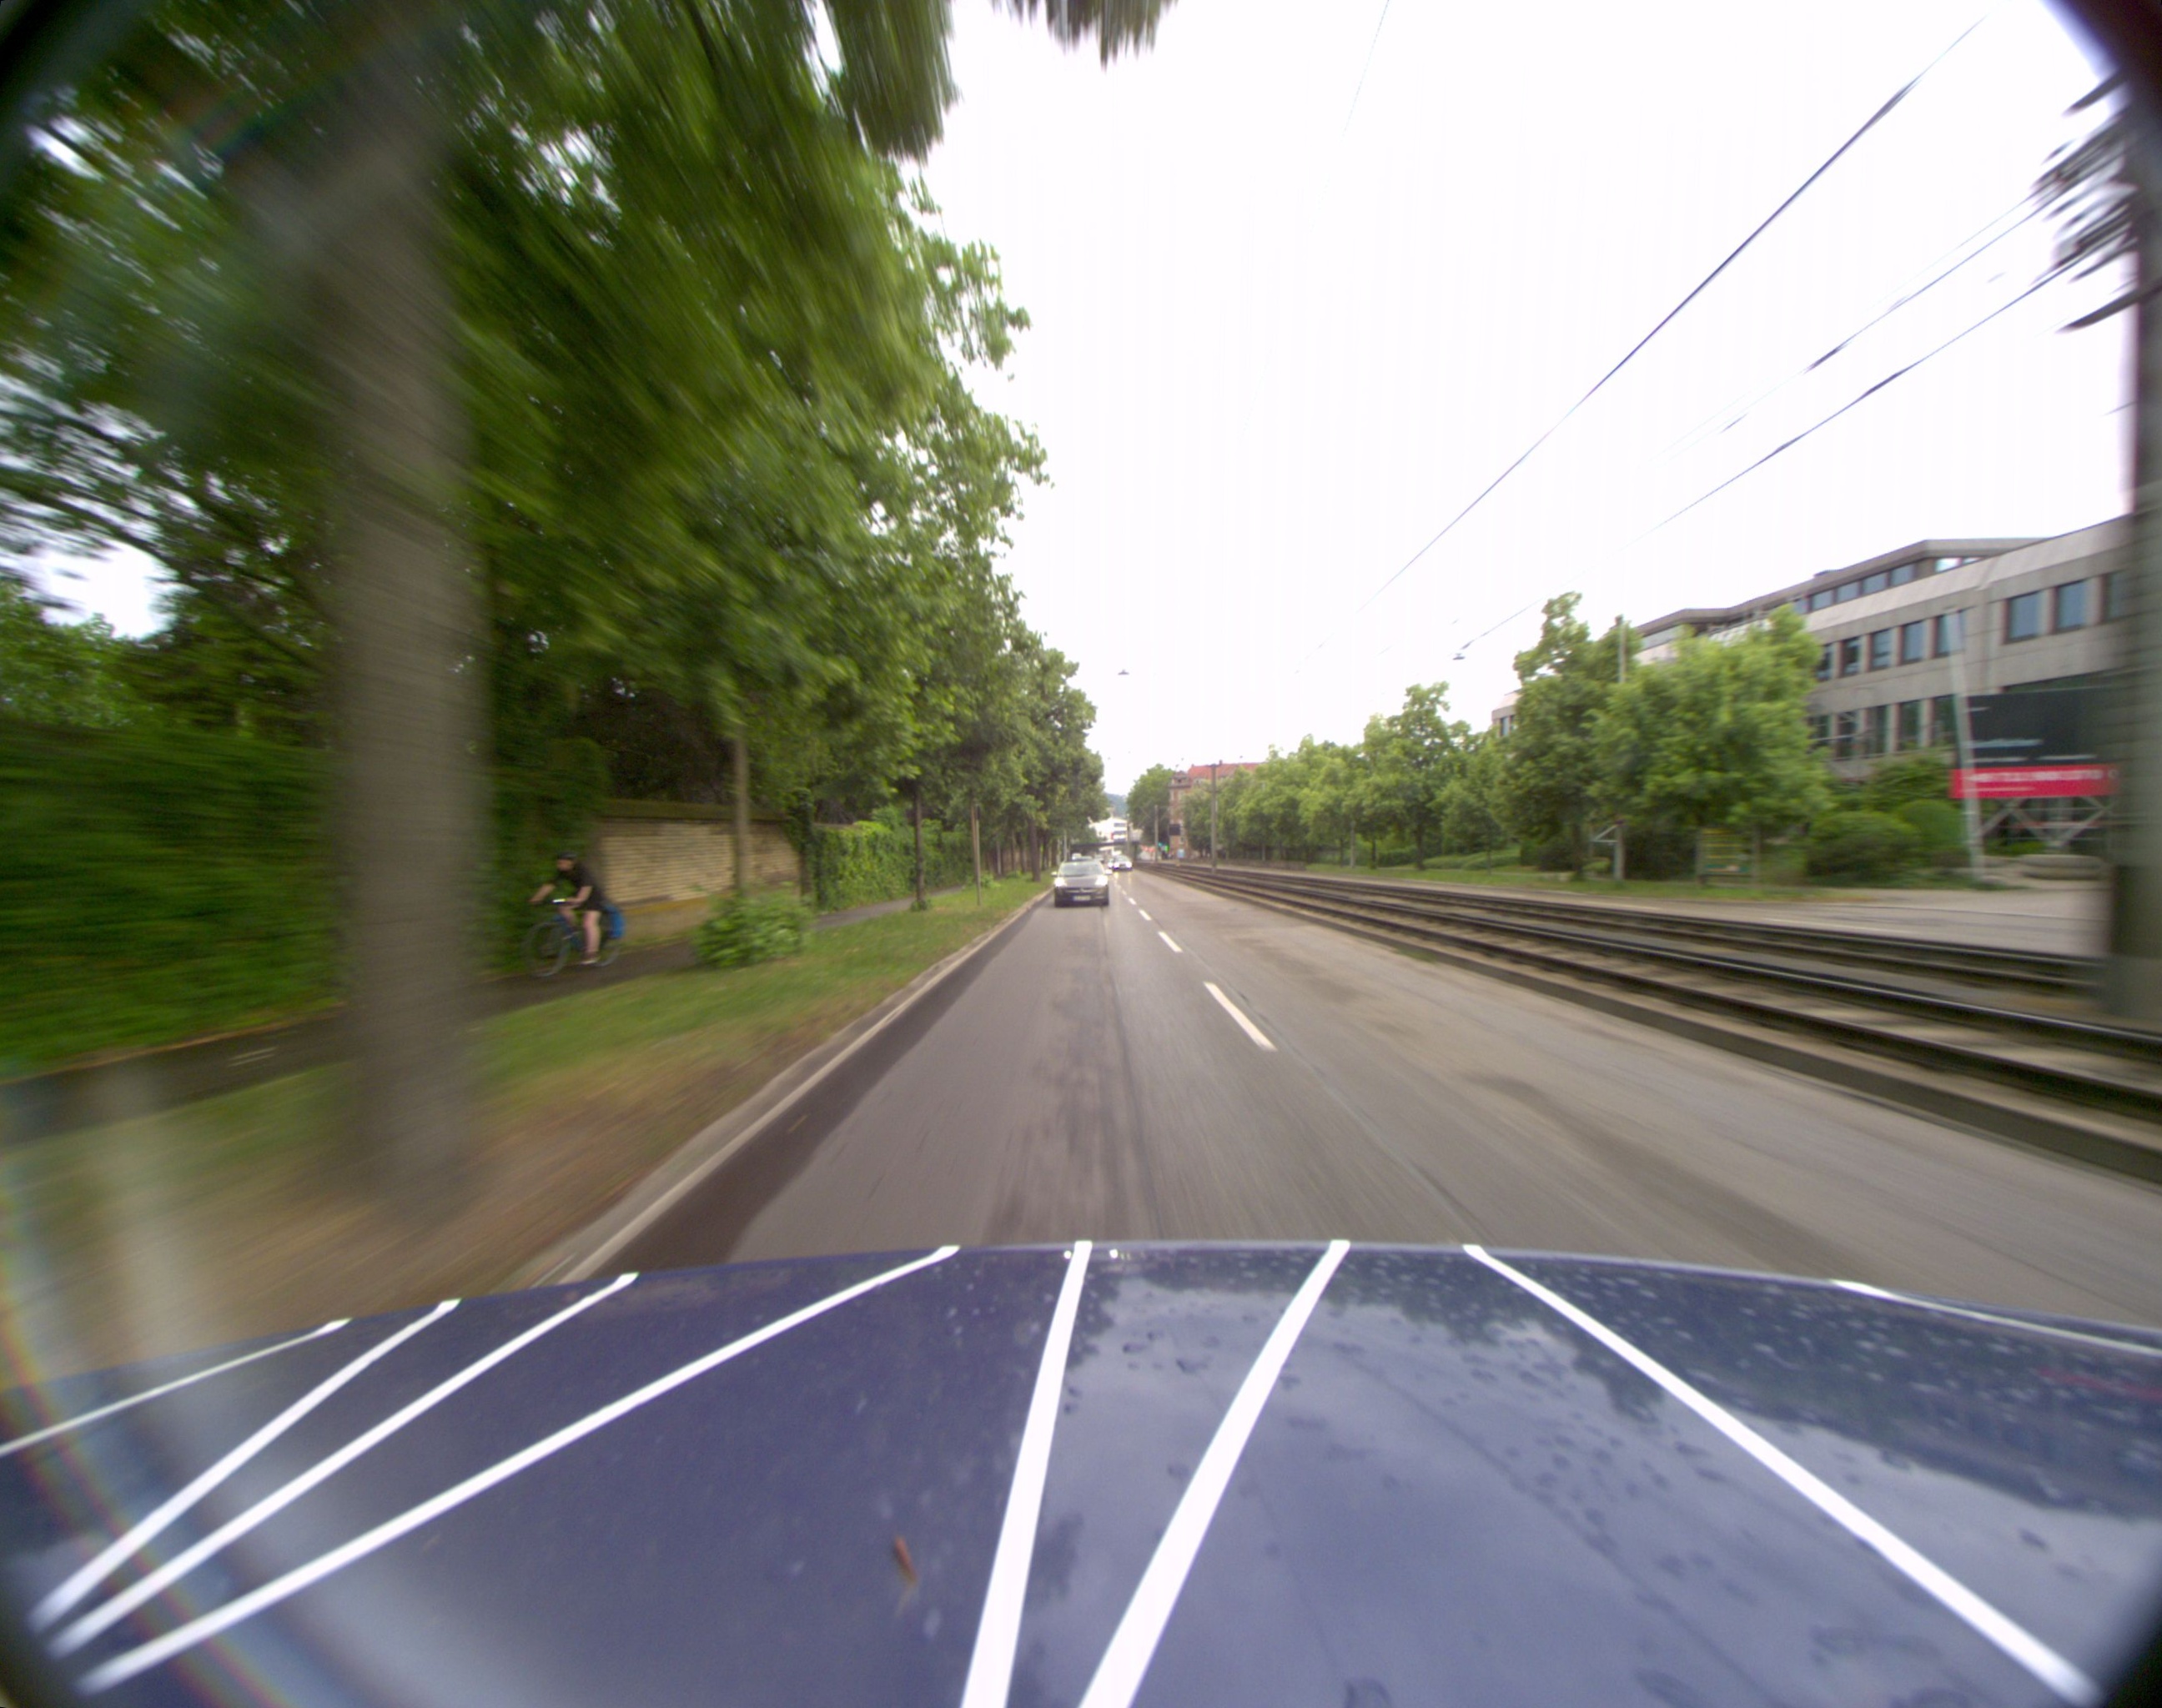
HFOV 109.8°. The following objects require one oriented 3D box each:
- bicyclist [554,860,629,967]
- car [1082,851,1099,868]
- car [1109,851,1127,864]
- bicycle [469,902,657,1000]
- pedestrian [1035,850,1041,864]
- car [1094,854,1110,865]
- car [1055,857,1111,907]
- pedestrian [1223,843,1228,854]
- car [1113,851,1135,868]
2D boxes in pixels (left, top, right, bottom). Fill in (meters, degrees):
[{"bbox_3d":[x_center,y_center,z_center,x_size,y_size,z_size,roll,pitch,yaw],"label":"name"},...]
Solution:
[{"bbox_3d":[-6.605,0.782,10.276,0.536,1.381,0.666,0,1,4],"label":"bicyclist"},{"bbox_3d":[1.196,0.662,93.492,1.998,2.002,4.000,-2,0,1],"label":"car"},{"bbox_3d":[4.174,0.391,85.367,1.806,1.483,4.102,0,0,0],"label":"car"},{"bbox_3d":[-6.640,1.192,9.966,0.544,0.942,2.550,0,0,4],"label":"bicycle"},{"bbox_3d":[-5.434,0.375,96.216,0.710,1.769,0.900,-1,1,-2],"label":"pedestrian"},{"bbox_3d":[3.506,0.872,126.693,1.999,1.801,3.997,-2,0,-6],"label":"car"},{"bbox_3d":[0.064,0.840,24.787,1.658,1.483,3.829,0,0,0],"label":"car"},{"bbox_3d":[25.320,-0.891,132.863,0.597,1.892,0.654,-2,1,-3],"label":"pedestrian"},{"bbox_3d":[3.911,0.503,69.511,1.806,1.483,4.102,0,0,0],"label":"car"}]
